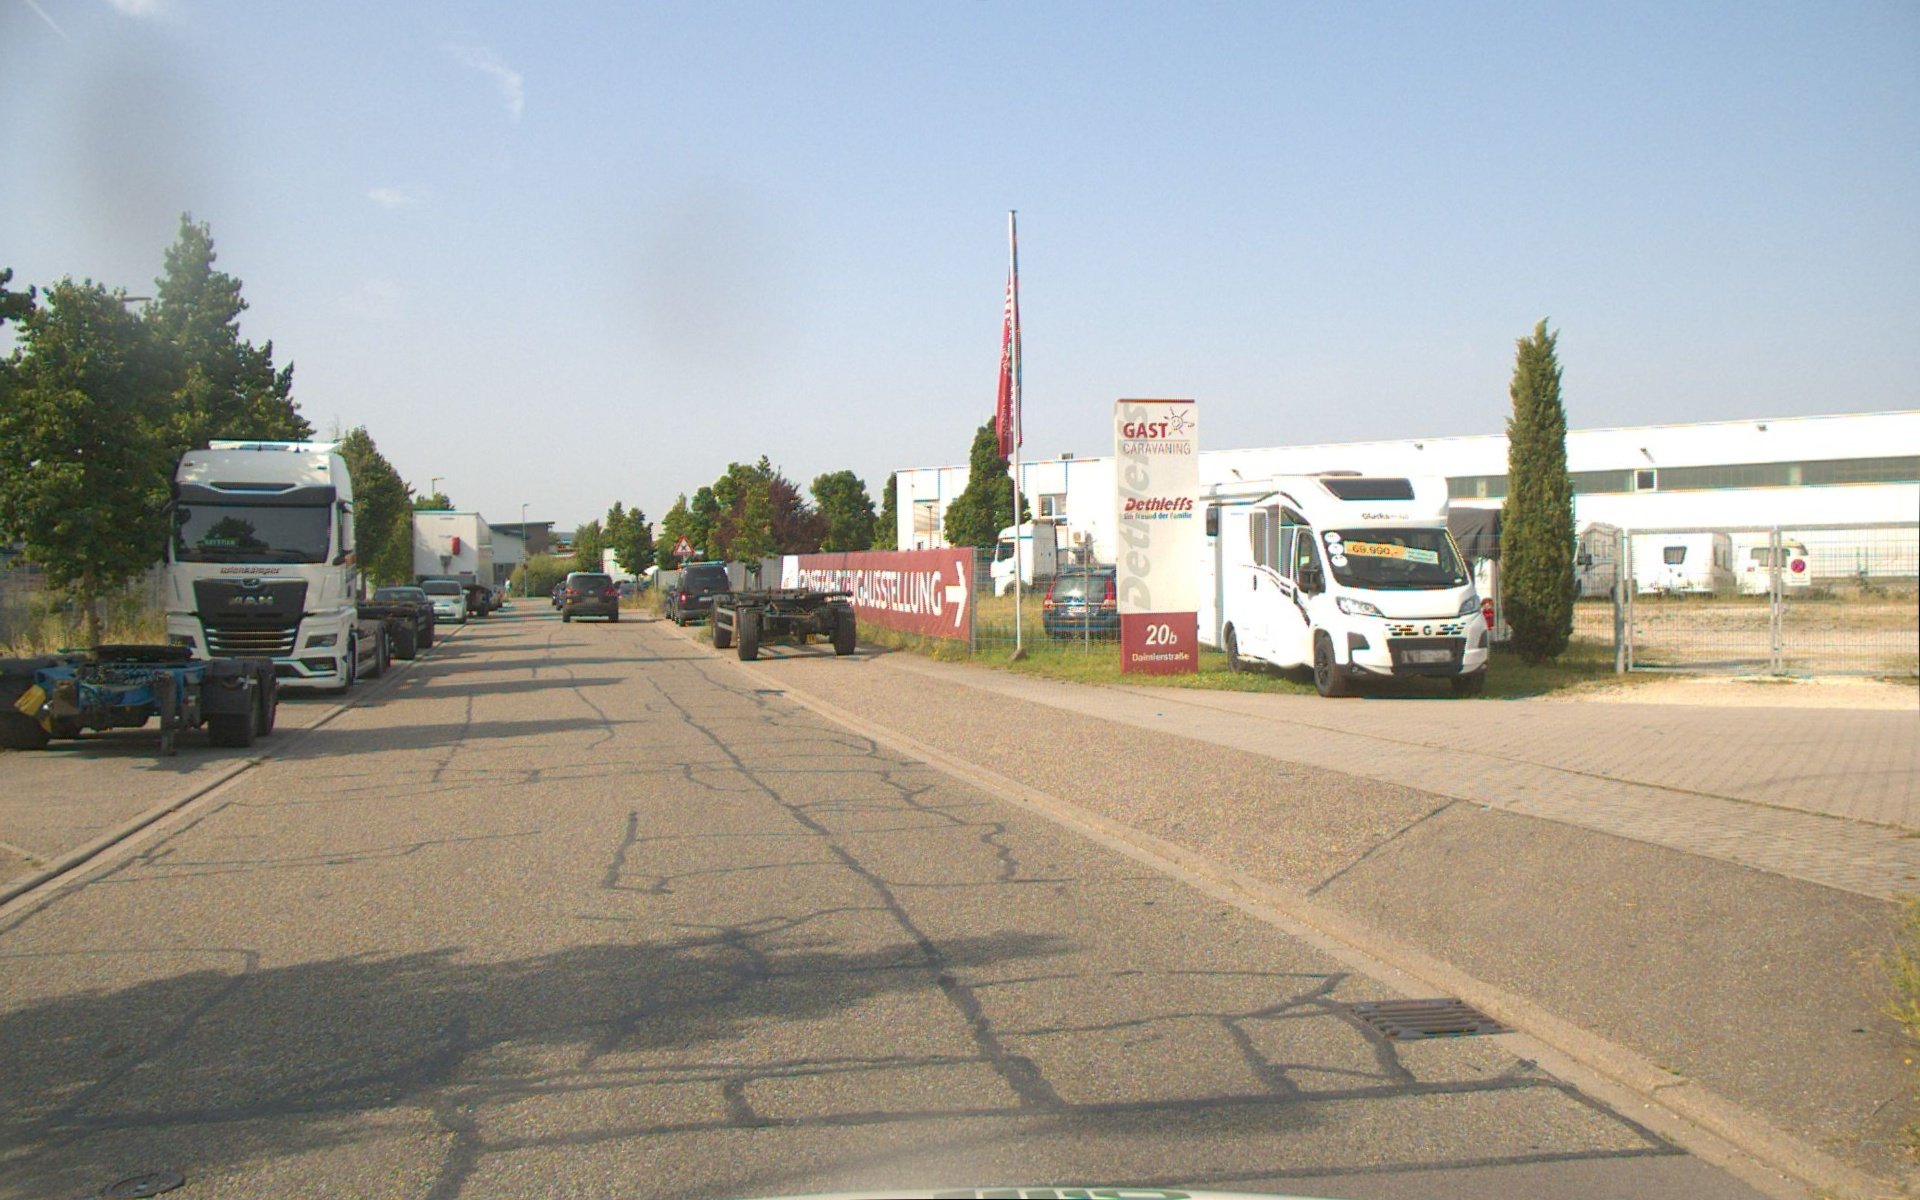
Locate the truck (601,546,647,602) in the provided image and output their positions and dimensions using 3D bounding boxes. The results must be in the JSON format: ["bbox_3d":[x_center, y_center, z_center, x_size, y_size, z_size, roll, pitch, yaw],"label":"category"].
[{"bbox_3d":[-23.047,-1.772,113.150,2.837,3.648,8.037,-2,1,-12],"label":"truck"}]

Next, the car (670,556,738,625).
[{"bbox_3d":[-8.210,-0.339,52.823,1.787,2.012,3.988,-4,2,-12],"label":"car"}]

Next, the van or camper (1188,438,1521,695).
[{"bbox_3d":[5.135,-0.470,22.932,2.286,2.994,6.962,-1,1,-6],"label":"van or camper"}]

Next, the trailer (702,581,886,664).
[{"bbox_3d":[-3.816,0.363,35.712,2.579,1.412,9.420,-3,1,-14],"label":"trailer"}]

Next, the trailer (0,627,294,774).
[{"bbox_3d":[-8.722,0.942,17.322,2.531,1.119,5.182,-1,1,-14],"label":"trailer"}]

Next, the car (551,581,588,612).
[{"bbox_3d":[-22.276,-0.226,94.275,1.960,1.668,3.985,-1,1,-14],"label":"car"}]

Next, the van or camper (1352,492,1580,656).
[{"bbox_3d":[9.234,-0.518,29.688,2.437,2.603,6.612,0,2,31],"label":"van or camper"}]

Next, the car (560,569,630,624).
[{"bbox_3d":[-12.763,-0.148,58.011,1.955,1.836,3.995,1,1,-6],"label":"car"}]

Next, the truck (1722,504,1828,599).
[{"bbox_3d":[26.628,-1.564,53.866,2.406,2.875,7.984,0,1,31],"label":"truck"}]

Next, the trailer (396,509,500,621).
[{"bbox_3d":[-22.277,-1.496,72.697,3.346,4.416,13.871,-1,1,-13],"label":"trailer"}]

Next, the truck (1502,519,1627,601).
[{"bbox_3d":[20.145,-1.332,54.823,2.406,2.514,7.984,0,1,31],"label":"truck"}]

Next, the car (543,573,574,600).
[{"bbox_3d":[-27.429,-0.908,112.939,1.960,1.803,3.985,-1,1,-14],"label":"car"}]

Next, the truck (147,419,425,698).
[{"bbox_3d":[-11.789,-0.668,30.311,2.580,3.997,12.877,0,1,-13],"label":"truck"}]

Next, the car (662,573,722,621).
[{"bbox_3d":[-9.476,-0.124,58.294,1.787,1.474,3.789,-4,2,-12],"label":"car"}]

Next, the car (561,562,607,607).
[{"bbox_3d":[-17.558,-0.759,77.377,1.958,1.932,4.456,0,2,-11],"label":"car"}]

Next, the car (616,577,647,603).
[{"bbox_3d":[-20.431,-0.657,102.720,1.787,1.474,3.789,-2,2,-12],"label":"car"}]

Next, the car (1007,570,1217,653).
[{"bbox_3d":[3.081,0.189,33.145,3.970,1.502,2.138,-2,1,-44],"label":"car"}]

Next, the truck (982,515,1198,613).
[{"bbox_3d":[5.540,-1.518,71.243,9.108,4.041,2.455,0,1,29],"label":"truck"}]

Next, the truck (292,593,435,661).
[{"bbox_3d":[-13.702,0.555,38.383,2.482,1.287,6.502,-1,1,-14],"label":"truck"}]

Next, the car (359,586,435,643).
[{"bbox_3d":[-15.527,0.362,45.781,1.855,1.461,3.981,-1,1,-17],"label":"car"}]

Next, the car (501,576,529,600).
[{"bbox_3d":[-34.339,-0.905,127.639,1.960,1.803,3.985,-1,1,-14],"label":"car"}]

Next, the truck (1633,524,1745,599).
[{"bbox_3d":[24.458,-1.289,55.274,2.406,2.304,7.984,0,1,31],"label":"truck"}]

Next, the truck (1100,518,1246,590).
[{"bbox_3d":[8.122,-1.712,62.182,2.406,2.514,7.984,0,1,31],"label":"truck"}]

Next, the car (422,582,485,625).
[{"bbox_3d":[-18.012,0.096,58.940,1.779,1.452,3.987,-1,1,-13],"label":"car"}]
